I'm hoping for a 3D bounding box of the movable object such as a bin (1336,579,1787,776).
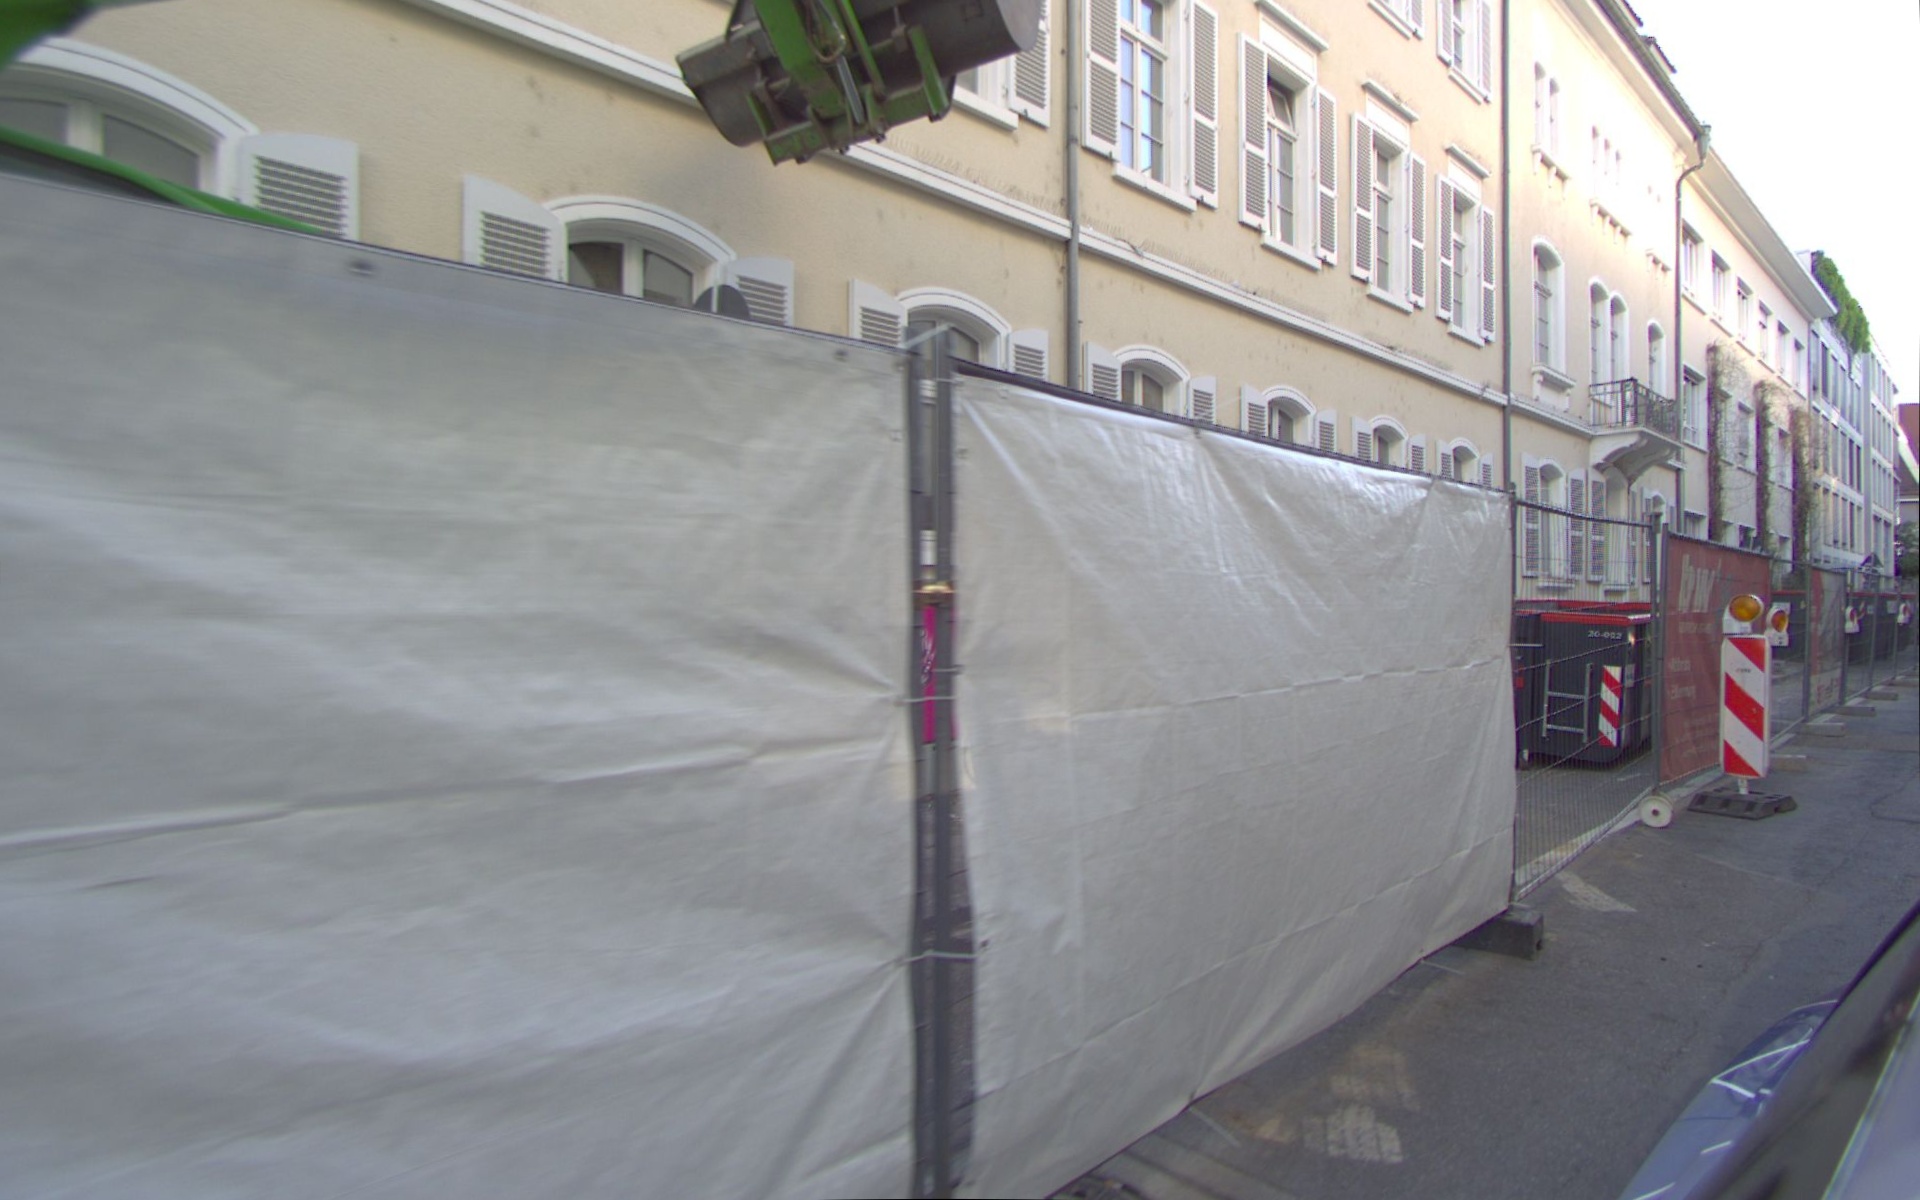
[{"bbox_3d":[7.538,0.637,12.095,7.427,1.659,2.738,-1,0,-44],"label":"movable object such as a bin"}]

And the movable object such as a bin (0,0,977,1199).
[{"bbox_3d":[-2.425,0.247,2.909,4.374,2.874,2.608,0,1,-42],"label":"movable object such as a bin"}]
